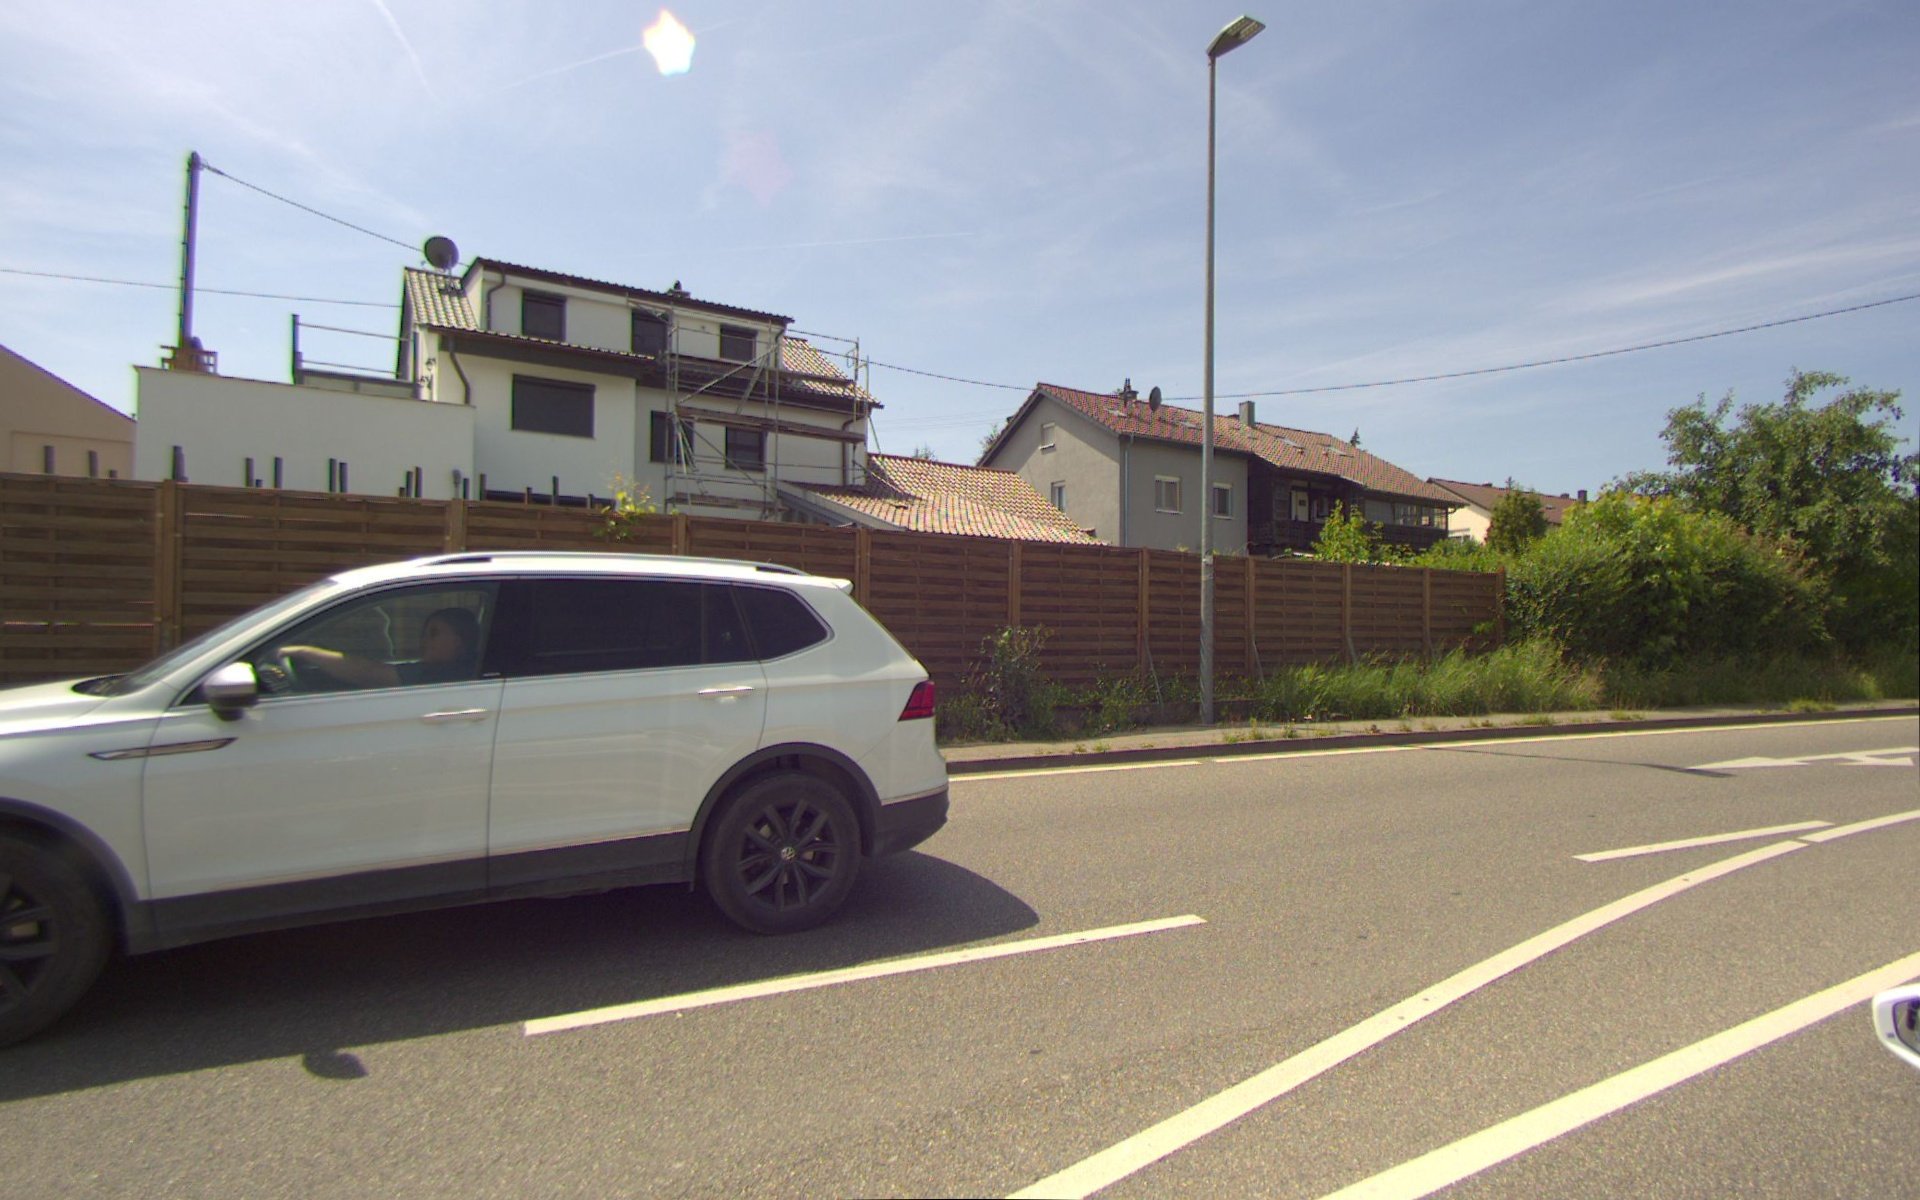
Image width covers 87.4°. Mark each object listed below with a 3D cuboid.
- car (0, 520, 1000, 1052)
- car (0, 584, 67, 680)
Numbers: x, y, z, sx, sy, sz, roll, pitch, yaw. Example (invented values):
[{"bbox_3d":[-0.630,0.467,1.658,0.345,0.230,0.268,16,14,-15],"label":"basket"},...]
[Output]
[{"bbox_3d":[-2.155,0.599,4.662,4.348,1.677,1.838,1,0,-28],"label":"car"},{"bbox_3d":[-15.496,0.461,14.952,1.854,1.459,3.982,2,-1,-20],"label":"car"}]
